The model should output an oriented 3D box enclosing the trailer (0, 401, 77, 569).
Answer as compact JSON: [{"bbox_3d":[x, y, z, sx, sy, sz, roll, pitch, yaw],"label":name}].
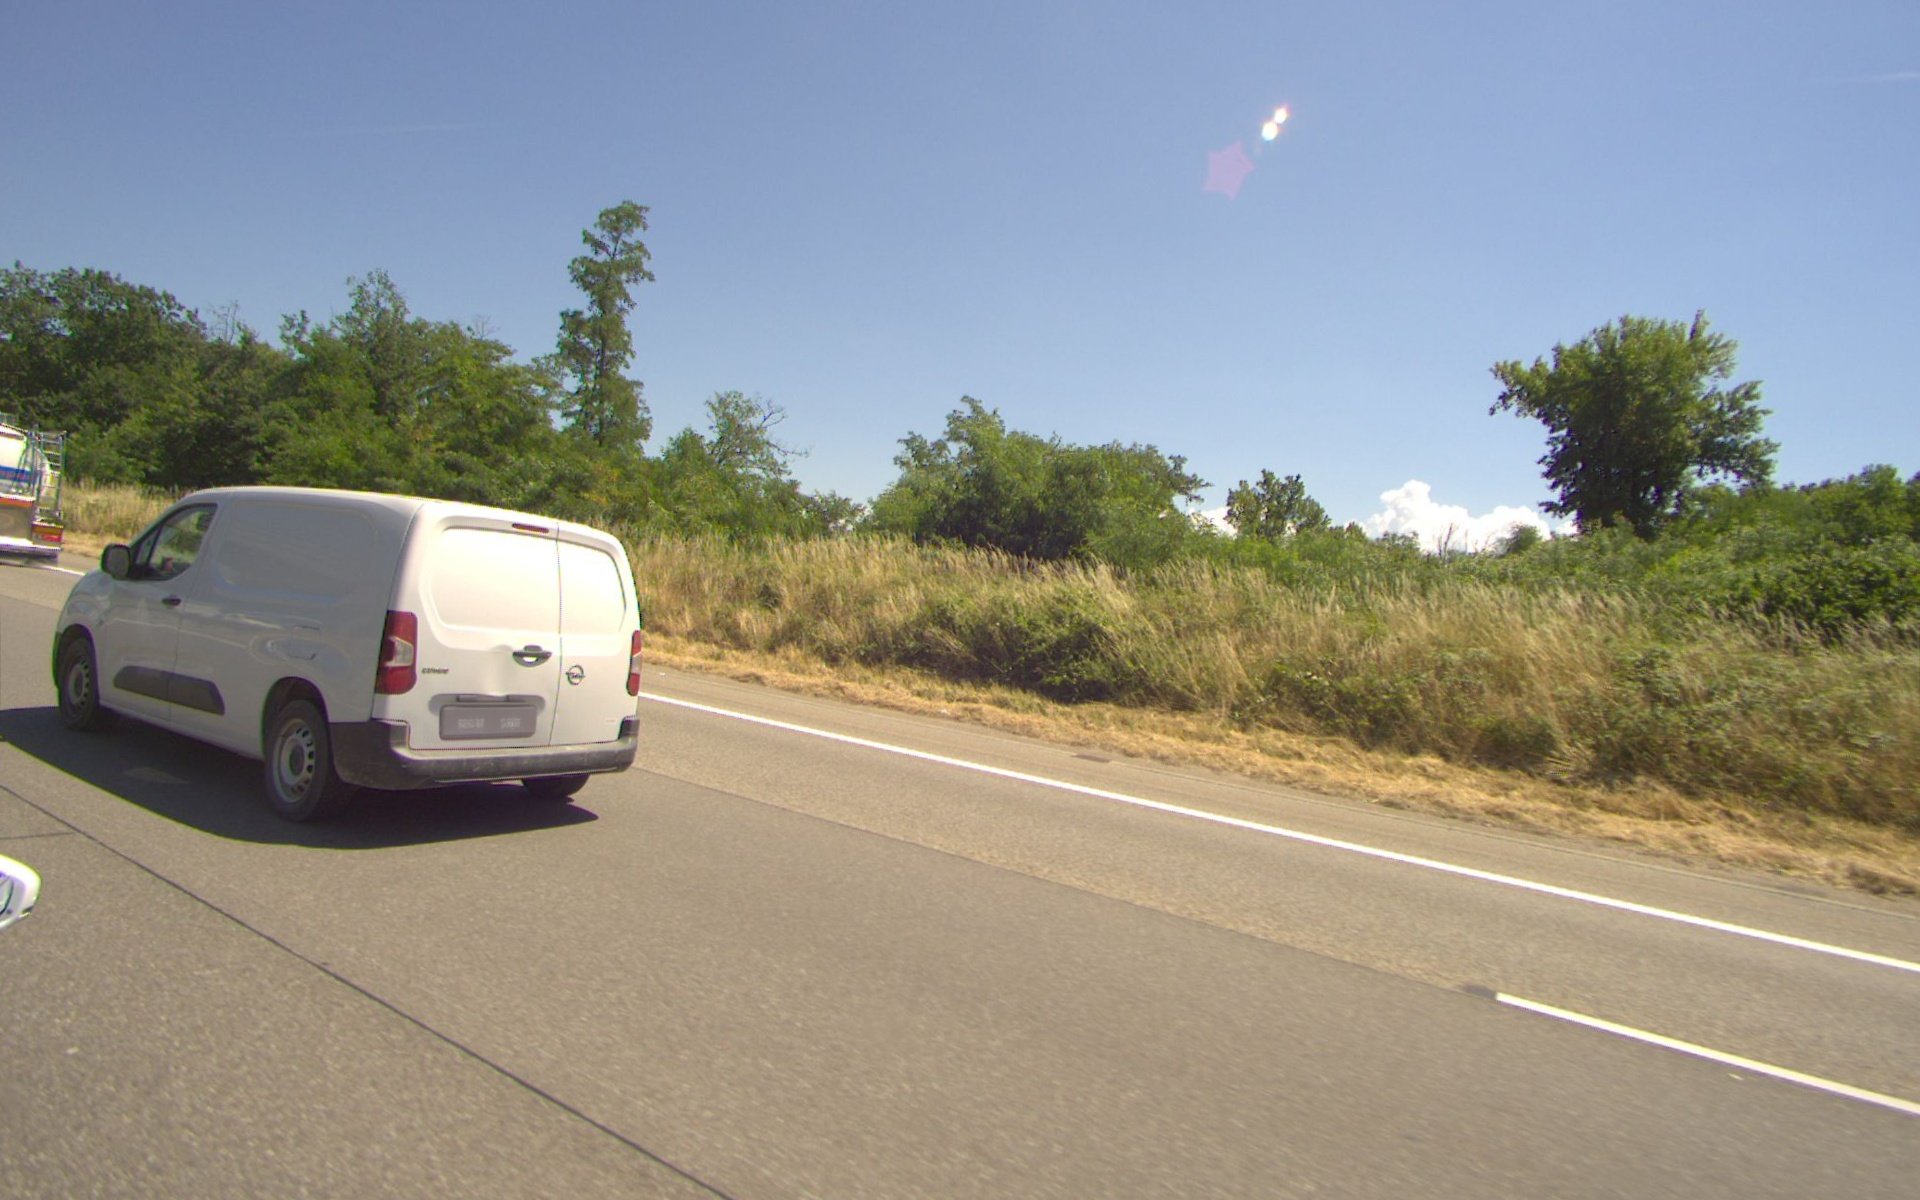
[{"bbox_3d":[-27.348,-3.278,26.586,11.357,3.777,2.534,6,-1,32],"label":"trailer"}]

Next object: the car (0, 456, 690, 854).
[{"bbox_3d":[-4.385,0.174,6.918,4.858,1.838,1.870,6,-2,31],"label":"car"}]
